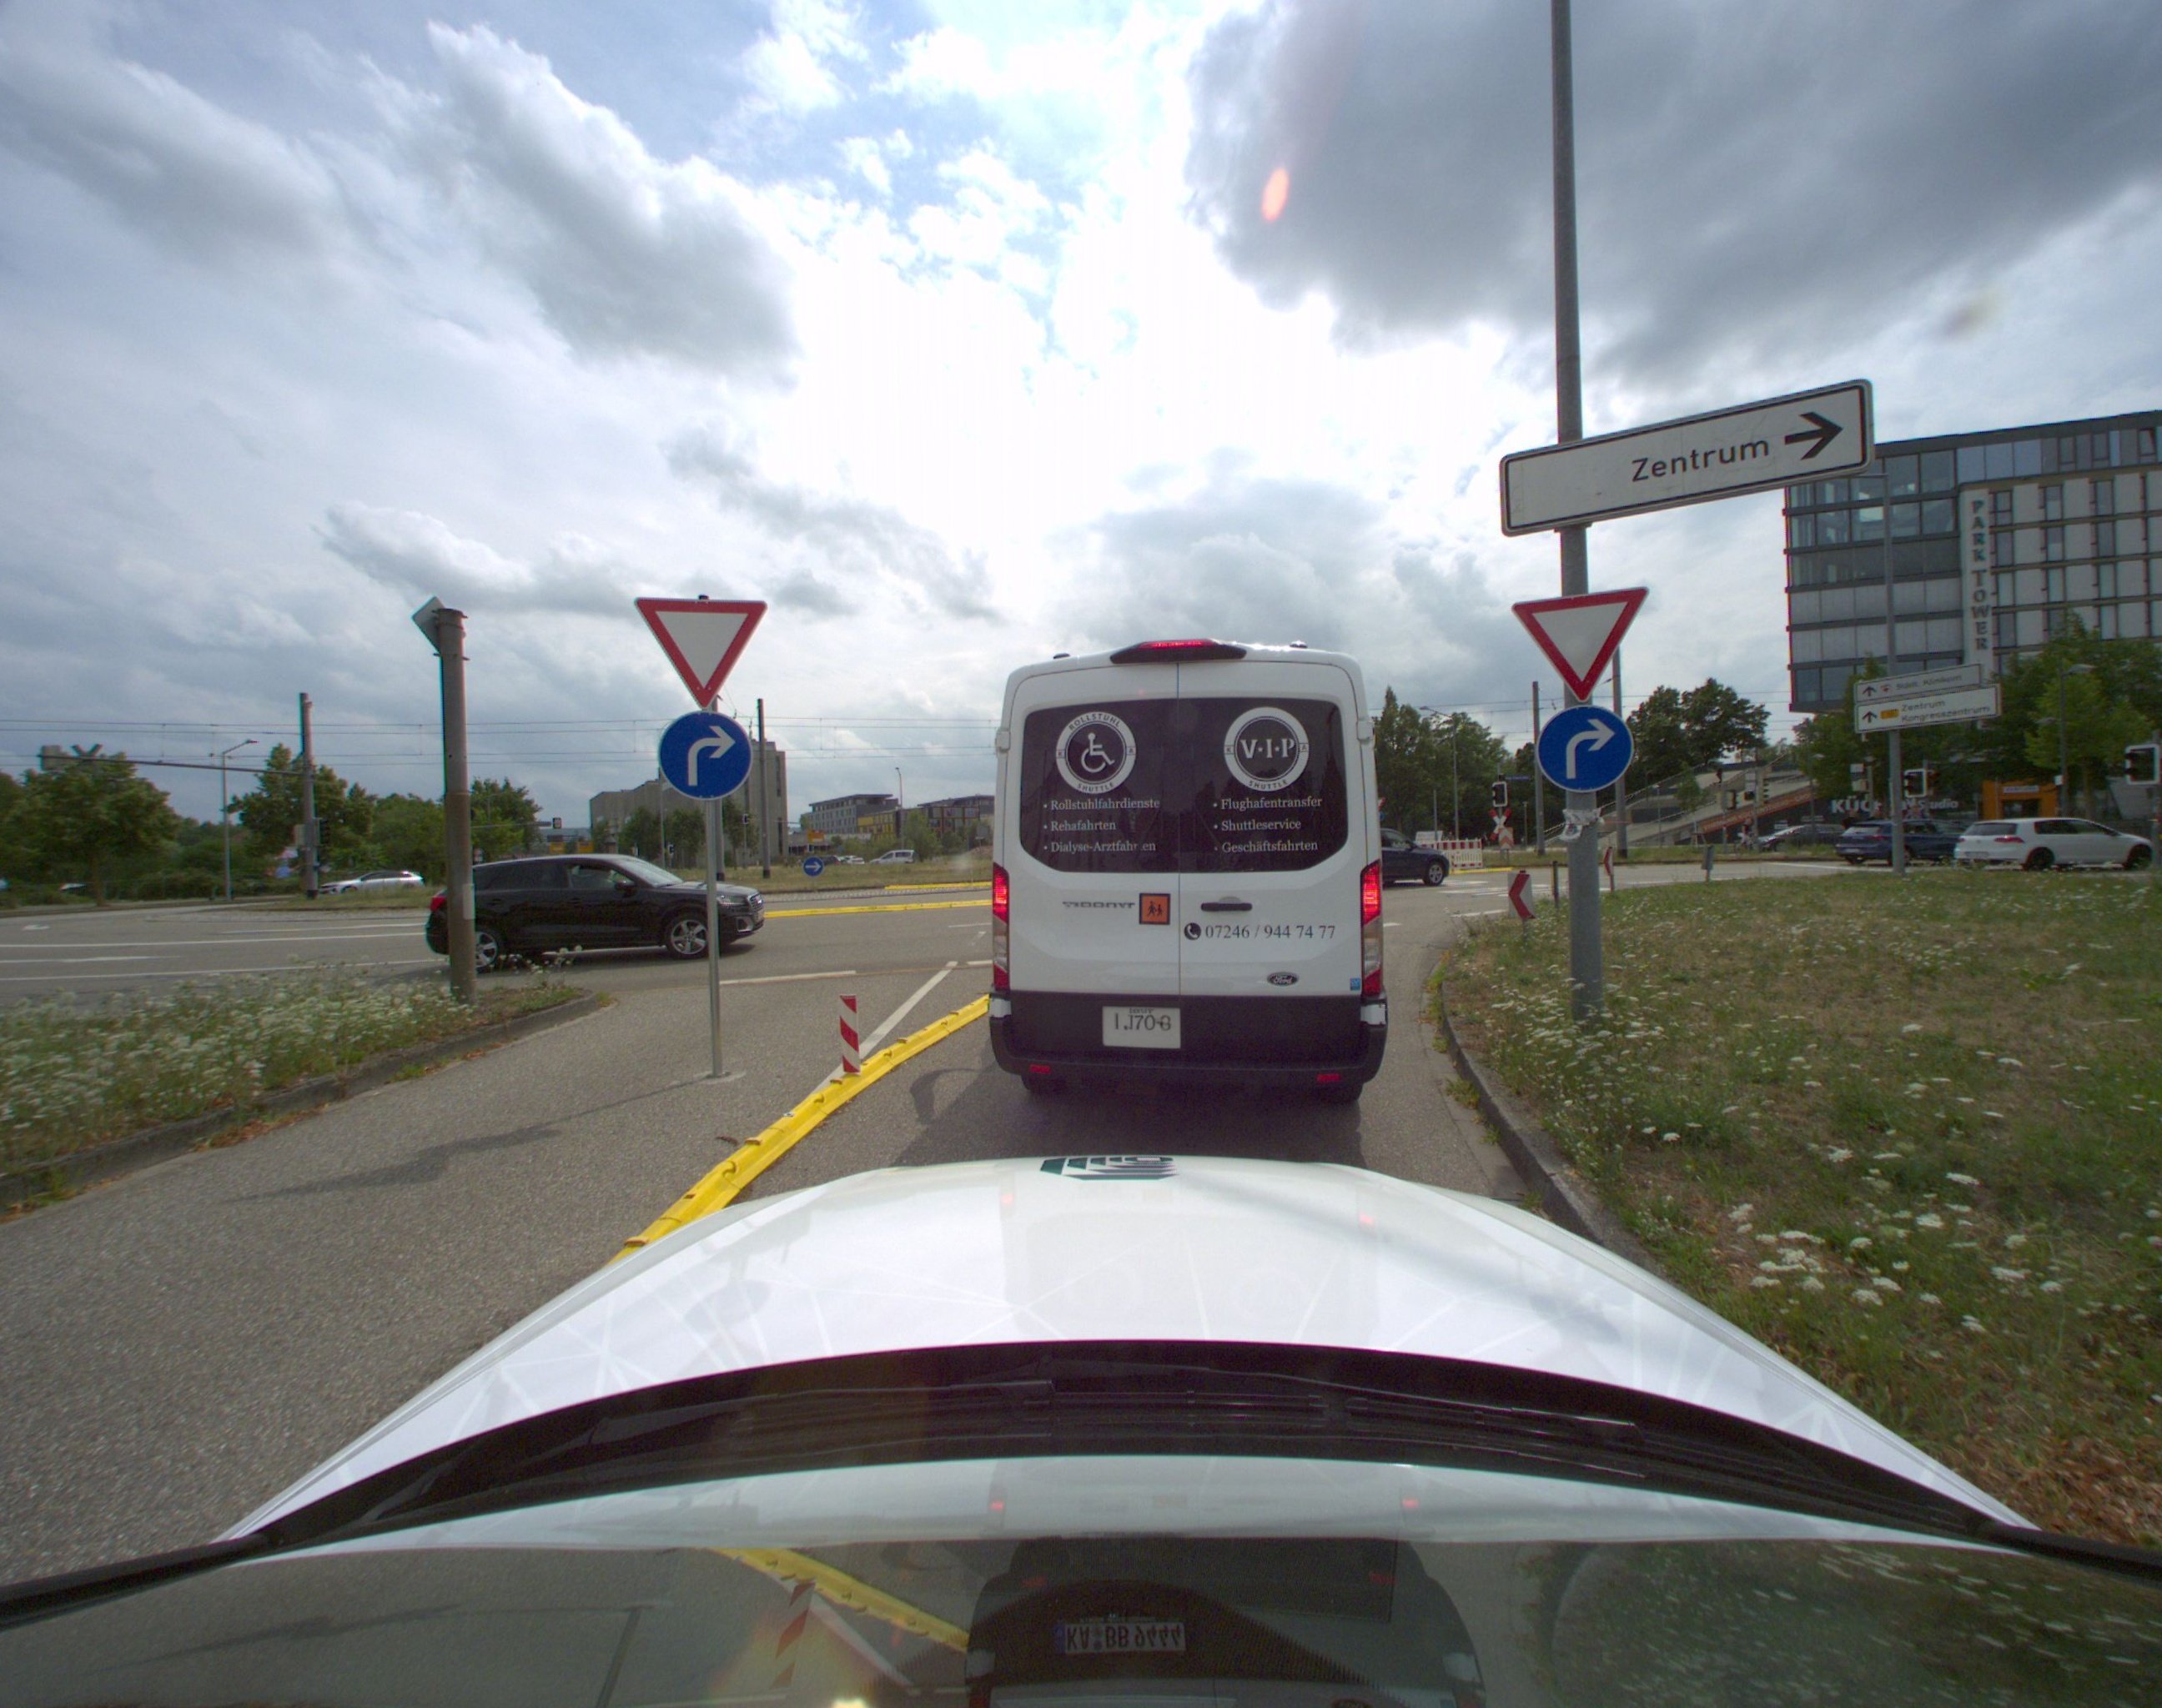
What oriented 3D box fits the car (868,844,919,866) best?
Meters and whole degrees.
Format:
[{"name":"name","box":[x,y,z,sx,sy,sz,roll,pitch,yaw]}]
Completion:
[{"name":"car","box":[-17.548,0.090,76.380,4.340,2.014,1.996,-1,-1,-5]}]

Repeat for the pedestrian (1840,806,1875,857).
[{"name":"pedestrian","box":[27.273,-0.785,28.612,0.684,1.781,0.554,-2,1,6]}]

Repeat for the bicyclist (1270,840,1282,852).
[{"name":"bicyclist","box":[14.867,-0.620,61.989,0.650,0.884,0.611,-2,-1,38]}]

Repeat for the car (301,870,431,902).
[{"name":"car","box":[-41.176,1.815,47.061,1.974,1.482,5.217,-2,1,31]}]

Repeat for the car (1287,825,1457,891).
[{"name":"car","box":[7.754,0.054,21.657,4.382,1.534,1.717,-2,1,-27]}]

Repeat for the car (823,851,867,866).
[{"name":"car","box":[-23.493,0.464,81.151,3.952,1.463,1.843,-1,-1,23]}]

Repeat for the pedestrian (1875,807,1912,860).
[{"name":"pedestrian","box":[28.001,-0.698,28.077,0.684,1.781,0.554,-2,1,6]}]

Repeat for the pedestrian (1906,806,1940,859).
[{"name":"pedestrian","box":[28.782,-0.720,27.836,0.575,1.781,0.554,-2,1,6]}]

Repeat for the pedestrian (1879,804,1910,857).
[{"name":"pedestrian","box":[28.583,-0.823,28.627,0.527,1.862,0.554,-2,1,6]}]

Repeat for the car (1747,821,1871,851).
[{"name":"car","box":[39.123,-0.954,43.897,4.689,1.458,1.855,-2,1,13]}]

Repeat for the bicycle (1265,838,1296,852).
[{"name":"bicycle","box":[15.113,-0.678,61.771,2.176,0.938,0.618,-2,-1,39]}]

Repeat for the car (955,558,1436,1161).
[{"name":"car","box":[0.853,0.028,6.556,2.115,2.697,5.643,-2,0,7]}]

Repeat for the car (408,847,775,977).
[{"name":"car","box":[-6.758,0.731,11.745,4.138,1.519,1.733,-2,1,-13]}]

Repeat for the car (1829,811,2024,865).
[{"name":"car","box":[26.575,-0.488,25.719,4.083,1.497,1.804,-2,1,5]}]

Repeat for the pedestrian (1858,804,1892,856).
[{"name":"pedestrian","box":[27.994,-0.847,28.704,0.628,1.781,0.554,-2,1,6]}]

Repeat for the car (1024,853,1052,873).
[{"name":"car","box":[-4.549,0.913,86.142,1.980,2.014,4.013,-1,-1,12]}]

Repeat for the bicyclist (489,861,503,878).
[{"name":"bicyclist","box":[-50.526,1.350,70.302,0.853,1.409,0.678,-2,0,36]}]

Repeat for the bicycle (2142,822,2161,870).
[{"name":"bicycle","box":[26.921,-0.205,19.893,0.781,1.168,2.054,-2,0,40]}]

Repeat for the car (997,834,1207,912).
[{"name":"car","box":[0.483,0.357,17.929,4.269,1.462,1.814,-2,1,-27]}]

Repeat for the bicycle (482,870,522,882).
[{"name":"bicycle","box":[-50.234,1.924,70.666,0.853,0.855,2.676,-2,1,36]}]

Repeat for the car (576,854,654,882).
[{"name":"car","box":[-33.640,0.982,58.873,1.914,1.665,4.383,-2,2,42]}]

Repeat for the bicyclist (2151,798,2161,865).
[{"name":"bicyclist","box":[26.753,-0.553,19.710,0.781,1.627,1.056,-2,0,40]}]

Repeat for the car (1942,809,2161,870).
[{"name":"car","box":[26.685,-0.399,22.361,4.233,1.497,1.801,-2,1,-1]}]

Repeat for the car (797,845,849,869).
[{"name":"car","box":[-22.288,0.267,70.353,3.951,2.014,2.011,-1,-1,25]}]

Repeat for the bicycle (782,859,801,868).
[{"name":"bicycle","box":[-30.748,1.014,86.436,1.834,0.877,0.527,-2,0,-19]}]
